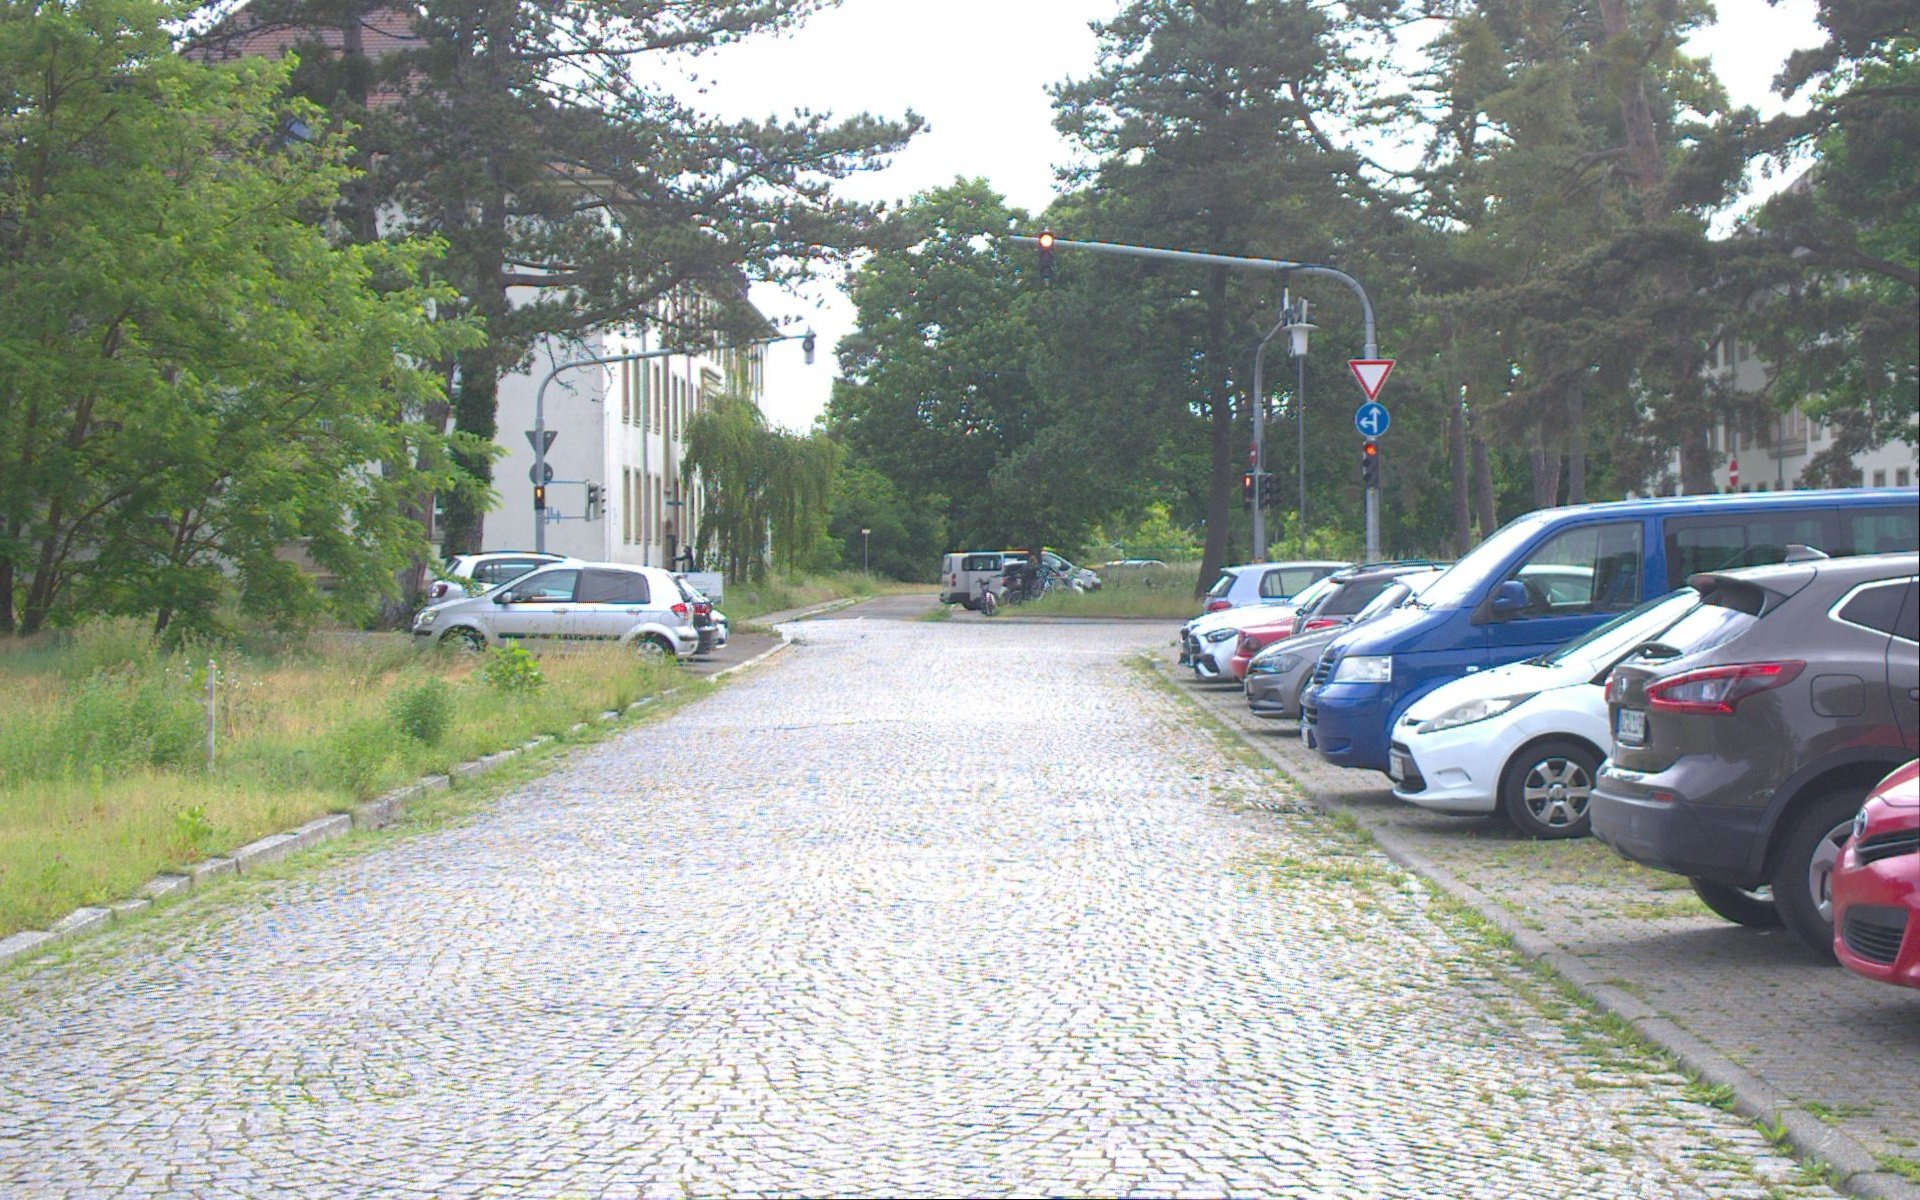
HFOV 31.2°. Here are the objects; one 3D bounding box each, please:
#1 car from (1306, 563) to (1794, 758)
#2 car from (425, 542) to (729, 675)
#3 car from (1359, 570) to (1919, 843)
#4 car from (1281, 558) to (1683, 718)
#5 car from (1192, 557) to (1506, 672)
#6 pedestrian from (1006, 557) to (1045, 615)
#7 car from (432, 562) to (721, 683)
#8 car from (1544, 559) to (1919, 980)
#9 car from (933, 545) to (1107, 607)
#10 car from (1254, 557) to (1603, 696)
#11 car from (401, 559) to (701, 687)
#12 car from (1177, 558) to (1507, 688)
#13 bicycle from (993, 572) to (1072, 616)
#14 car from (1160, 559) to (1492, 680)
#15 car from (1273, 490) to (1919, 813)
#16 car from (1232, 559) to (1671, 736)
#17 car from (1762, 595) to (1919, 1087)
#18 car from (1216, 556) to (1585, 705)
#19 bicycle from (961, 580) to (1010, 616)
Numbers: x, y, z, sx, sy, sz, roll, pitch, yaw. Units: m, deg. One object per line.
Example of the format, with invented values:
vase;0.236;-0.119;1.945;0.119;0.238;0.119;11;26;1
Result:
car;4.767;0.473;28.091;3.671;1.444;1.524;-2;0;-1
car;-5.658;0.117;51.137;4.262;1.834;1.744;-2;0;0
car;4.309;0.589;20.227;3.671;1.444;1.615;-2;0;-2
car;5.099;0.359;33.852;3.671;1.444;1.524;-2;0;-1
car;5.245;0.186;46.600;3.967;1.416;1.620;-2;0;-3
pedestrian;1.824;-0.387;95.941;1.033;1.608;0.757;0;0;-4
car;-5.336;0.309;48.145;3.821;1.567;1.564;-2;0;0
car;4.551;0.593;13.844;4.028;1.547;1.751;-2;0;-1
car;1.961;-0.788;113.506;5.444;2.007;2.269;0;0;-8
car;5.256;0.287;38.840;3.671;1.444;1.524;-2;0;-1
car;-5.401;0.298;45.728;3.821;1.567;1.564;-2;0;-2
car;4.535;0.264;41.107;3.671;1.416;1.524;-2;0;-3
bicycle;2.020;-0.177;95.596;2.136;1.210;0.622;0;0;-3
car;4.648;0.237;43.961;3.967;1.416;1.620;-2;0;-3
car;4.577;0.307;22.813;4.754;1.948;1.931;-2;0;-1
car;4.369;0.412;30.877;3.671;1.444;1.524;-2;0;-1
car;4.727;0.680;11.199;3.792;1.455;1.751;-2;0;1
car;4.645;0.310;36.567;3.671;1.444;1.524;-2;0;-1
bicycle;0.675;-0.045;91.552;0.620;0.942;1.663;0;1;-27
